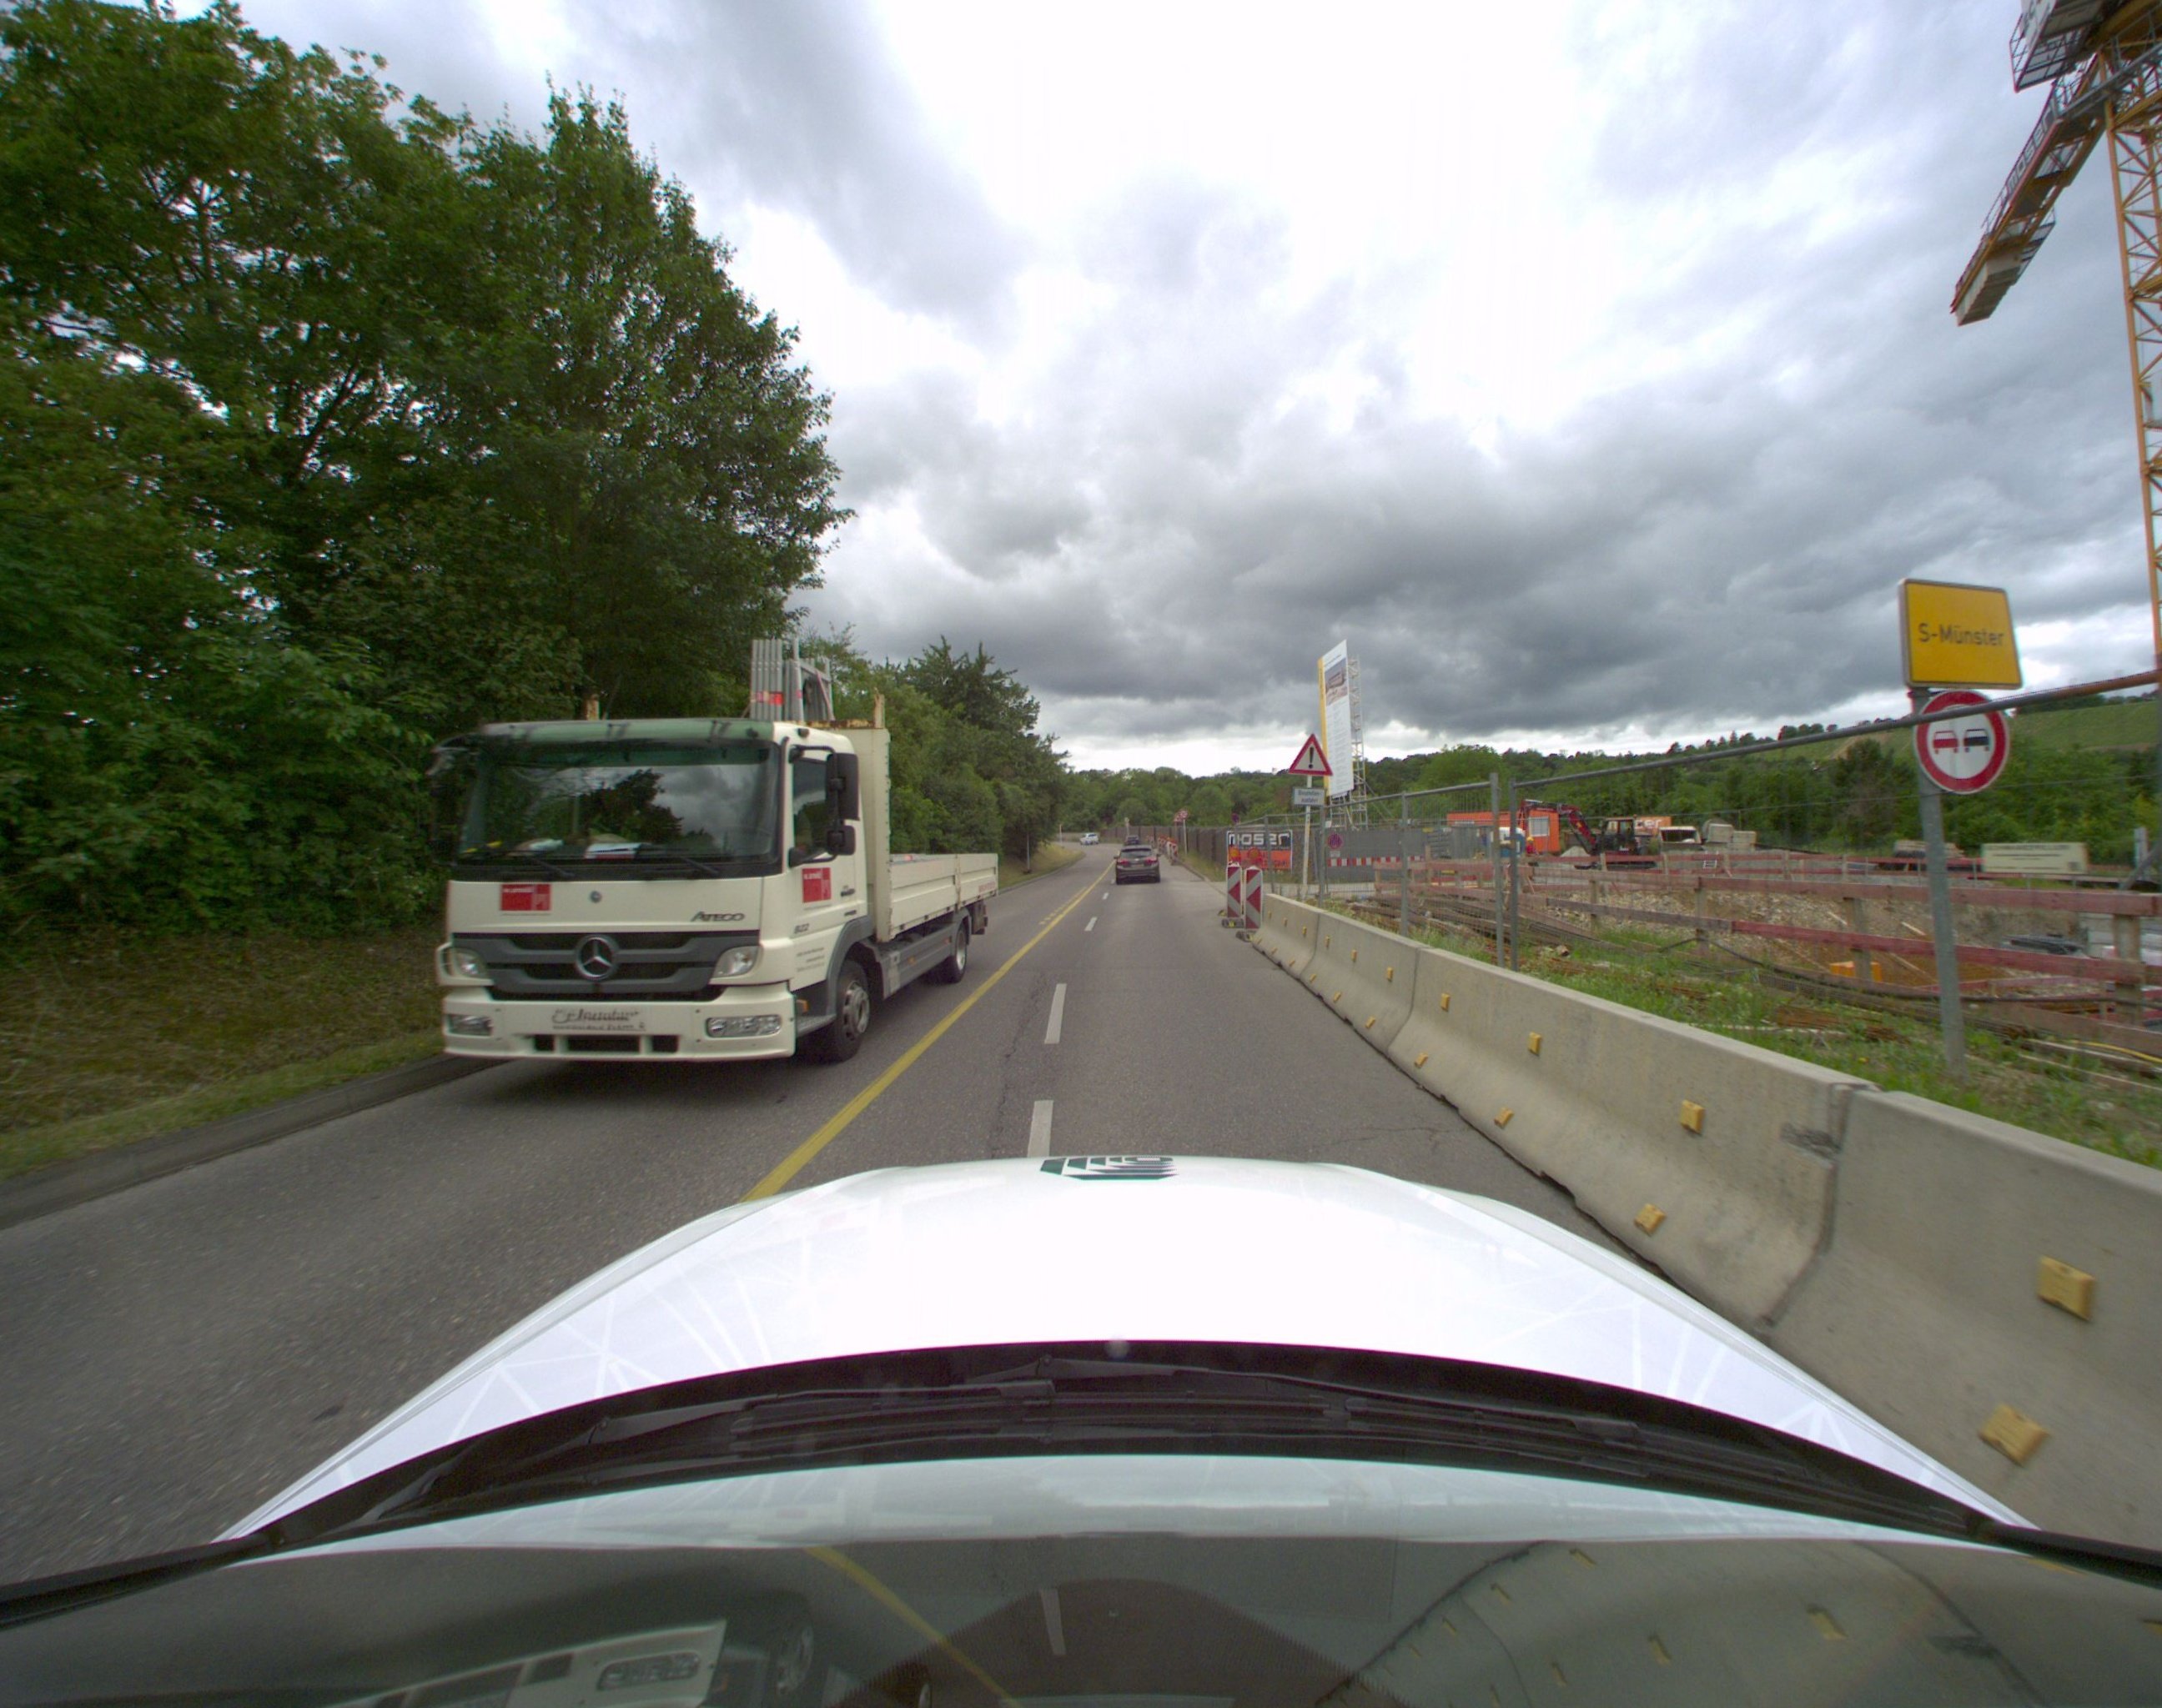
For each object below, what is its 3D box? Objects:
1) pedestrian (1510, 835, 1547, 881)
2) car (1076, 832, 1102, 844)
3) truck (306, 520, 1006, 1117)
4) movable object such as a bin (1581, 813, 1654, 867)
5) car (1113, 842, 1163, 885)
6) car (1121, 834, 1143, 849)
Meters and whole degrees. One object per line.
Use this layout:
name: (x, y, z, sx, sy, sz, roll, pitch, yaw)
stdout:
pedestrian: (19.032, 0.173, 34.652, 0.823, 1.901, 1.153, 0, -1, -7)
car: (1.055, -2.173, 108.375, 1.841, 1.438, 3.887, -2, 3, -25)
truck: (-2.726, -0.162, 8.307, 2.739, 3.258, 7.618, 0, -1, 4)
movable object such as a bin: (26.824, -0.661, 40.757, 2.708, 2.585, 2.012, -1, -1, 44)
car: (2.291, 0.328, 33.734, 1.832, 1.483, 4.003, -4, 2, 2)
car: (5.218, -1.296, 83.164, 1.776, 1.453, 3.852, 0, -1, -4)
